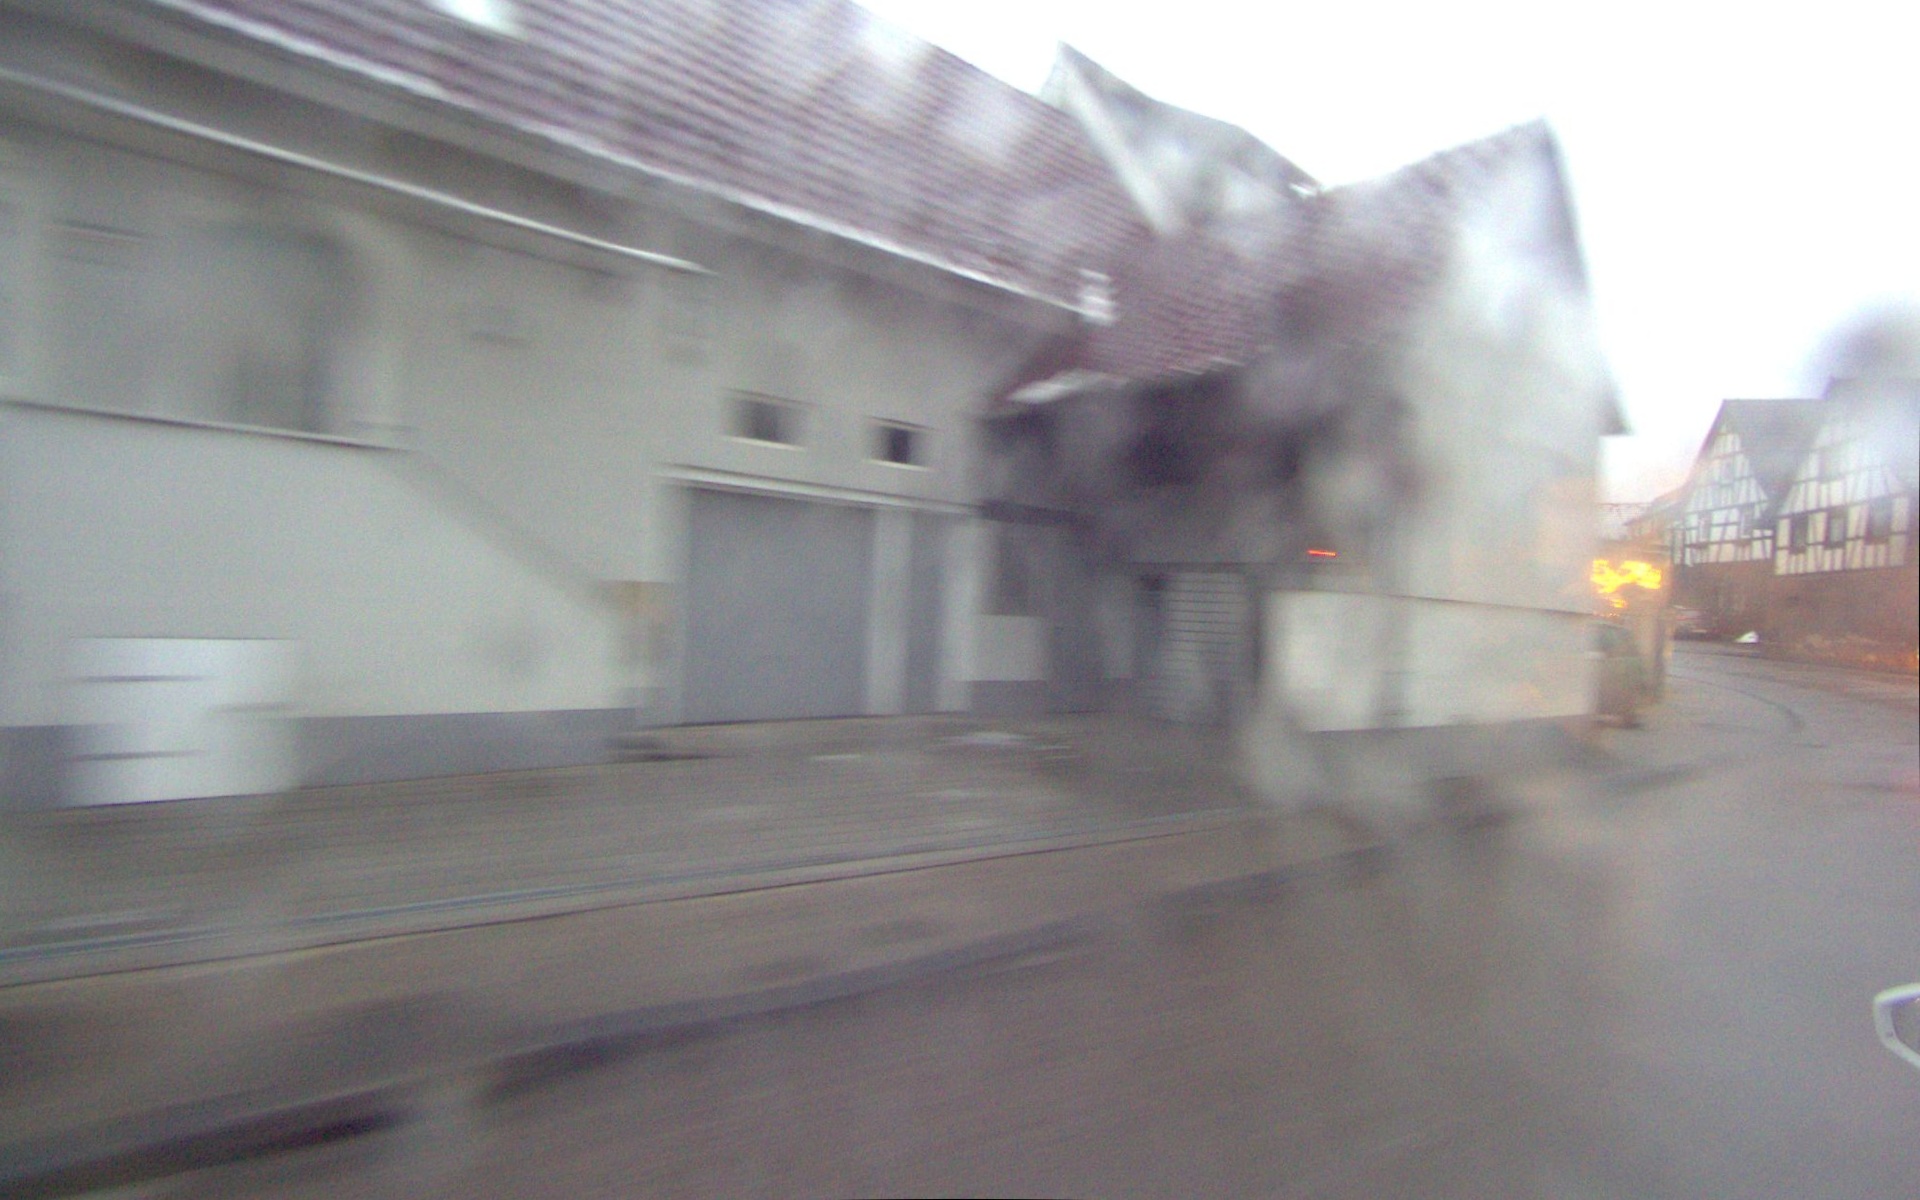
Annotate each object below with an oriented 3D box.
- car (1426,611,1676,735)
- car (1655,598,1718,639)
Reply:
[{"bbox_3d":[8.259,0.965,13.936,3.768,1.440,1.607,3,1,-37],"label":"car"},{"bbox_3d":[32.583,0.789,45.132,1.568,1.536,3.979,-1,3,25],"label":"car"}]
